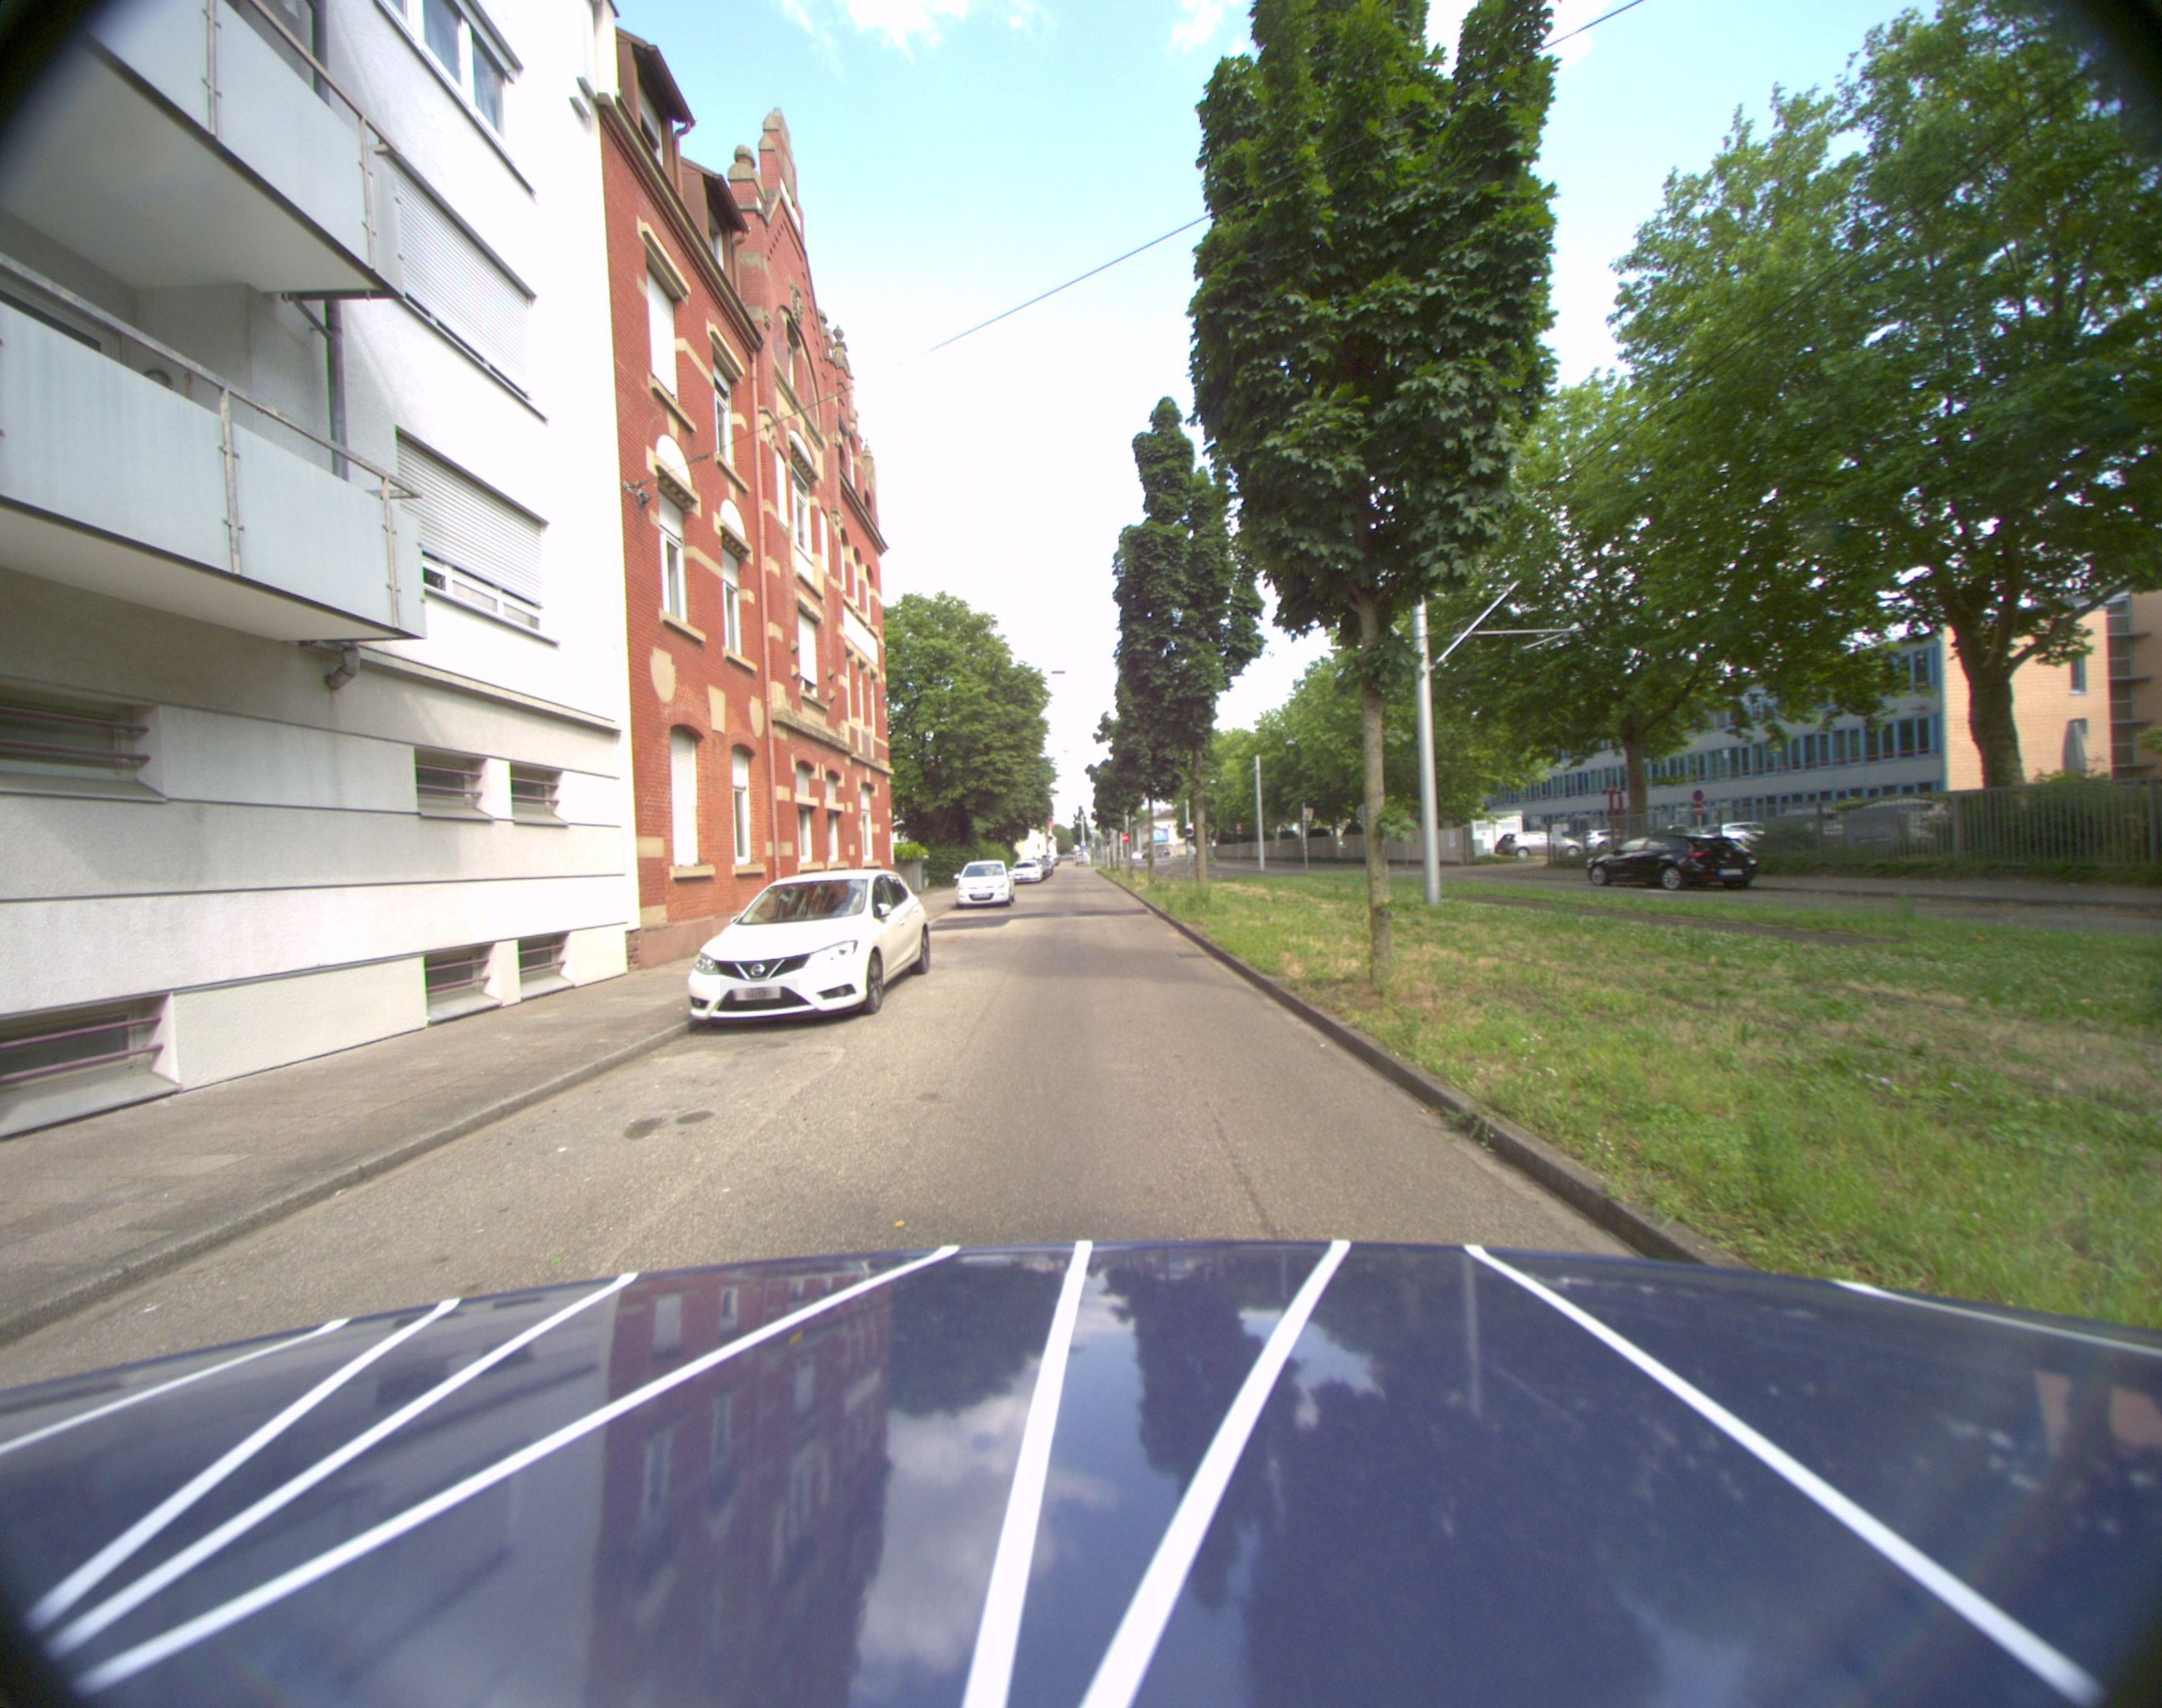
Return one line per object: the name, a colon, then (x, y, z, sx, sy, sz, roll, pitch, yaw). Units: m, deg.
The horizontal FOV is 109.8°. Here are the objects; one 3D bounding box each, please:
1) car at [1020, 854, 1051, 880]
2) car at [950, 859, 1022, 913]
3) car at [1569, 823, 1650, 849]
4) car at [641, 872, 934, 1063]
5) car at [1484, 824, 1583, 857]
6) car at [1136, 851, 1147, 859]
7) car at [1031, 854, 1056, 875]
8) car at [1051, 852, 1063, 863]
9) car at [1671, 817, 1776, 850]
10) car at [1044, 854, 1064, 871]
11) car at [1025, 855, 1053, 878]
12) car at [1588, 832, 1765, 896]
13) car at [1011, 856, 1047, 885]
car: (-3.154, 0.878, 53.000, 1.801, 1.521, 4.040, -5, 0, 0)
car: (-3.072, 0.993, 25.284, 1.801, 1.521, 4.040, -4, 0, 0)
car: (35.386, -1.195, 50.954, 3.997, 1.608, 1.999, -2, 1, -2)
car: (-3.044, 1.080, 8.910, 1.801, 1.521, 4.040, -3, 0, 0)
car: (23.882, -0.707, 40.209, 3.997, 1.608, 1.999, -2, 1, -2)
car: (12.104, 0.223, 152.347, 1.801, 1.521, 4.040, -4, 0, 0)
car: (-3.125, 0.868, 63.874, 1.801, 1.521, 4.040, -5, 0, 0)
car: (-3.838, 0.551, 122.163, 1.801, 1.521, 4.040, -5, 0, 0)
car: (34.570, -1.081, 40.965, 3.997, 1.608, 1.999, -2, 1, -2)
car: (-2.717, 0.891, 78.040, 1.801, 1.521, 4.040, -5, 0, 0)
car: (-3.193, 0.918, 58.460, 1.801, 1.521, 4.040, -5, 0, 0)
car: (15.561, 0.230, 20.159, 1.601, 1.455, 4.000, -3, 0, 2)
car: (-3.147, 0.952, 46.714, 1.801, 1.521, 4.040, -5, 0, 0)
